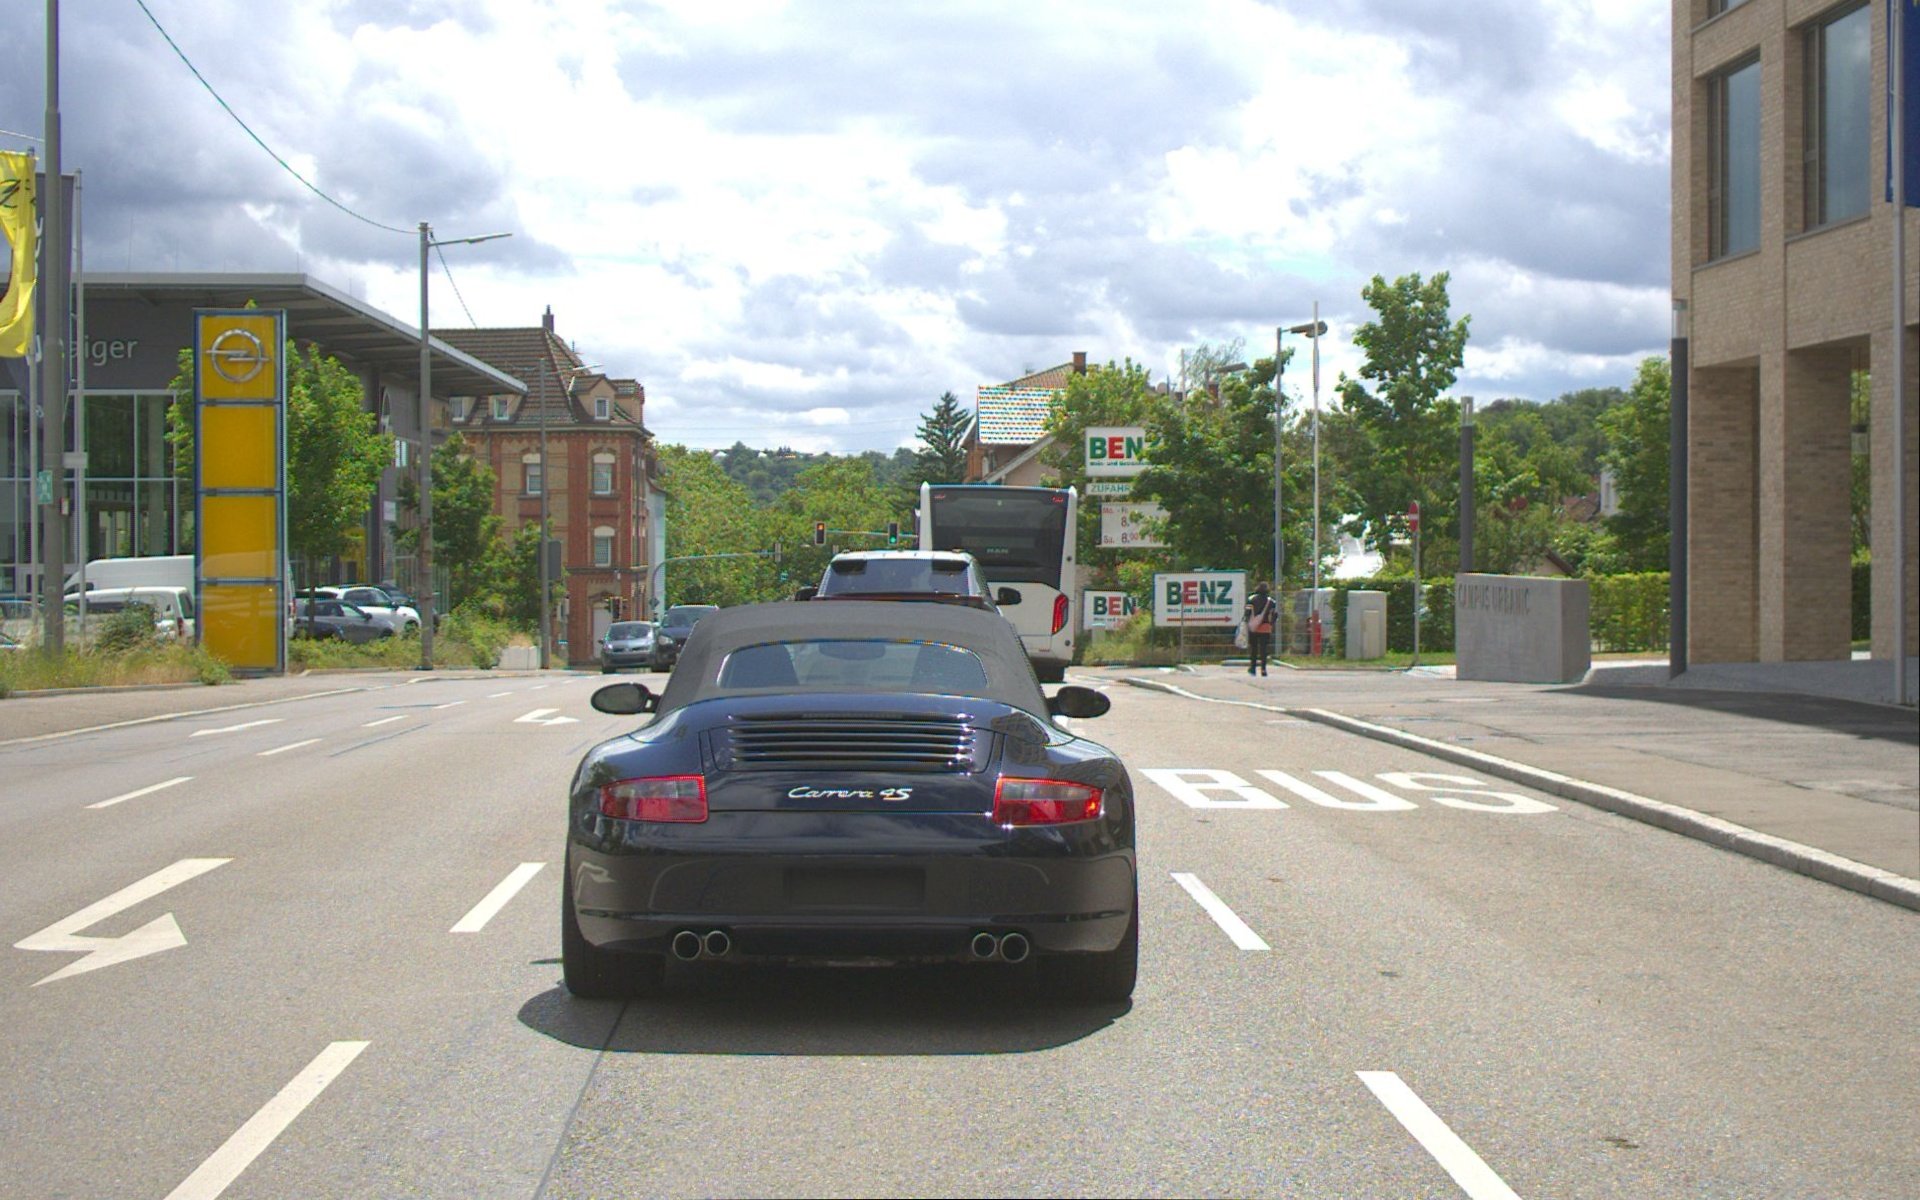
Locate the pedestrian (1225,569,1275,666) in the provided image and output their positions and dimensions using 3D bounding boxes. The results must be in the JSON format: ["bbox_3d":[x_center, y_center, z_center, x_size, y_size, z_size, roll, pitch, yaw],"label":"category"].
[{"bbox_3d":[4.621,0.278,54.785,0.687,1.531,0.856,-1,0,-2],"label":"pedestrian"}]

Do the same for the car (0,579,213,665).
[{"bbox_3d":[-17.665,0.448,70.943,3.987,1.700,2.000,0,1,4],"label":"car"}]

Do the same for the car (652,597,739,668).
[{"bbox_3d":[-5.834,0.732,76.176,1.829,1.504,4.277,-1,-1,-3],"label":"car"}]

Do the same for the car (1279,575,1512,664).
[{"bbox_3d":[9.710,0.439,76.797,4.706,1.842,2.089,-1,-1,-9],"label":"car"}]

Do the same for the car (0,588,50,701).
[{"bbox_3d":[-15.382,0.649,49.871,3.885,1.604,1.928,0,-1,-2],"label":"car"}]

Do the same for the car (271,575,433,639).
[{"bbox_3d":[-15.404,0.200,87.336,1.933,1.567,4.548,0,-1,22],"label":"car"}]

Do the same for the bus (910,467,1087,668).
[{"bbox_3d":[0.590,-0.654,60.726,2.802,3.187,12.196,0,1,0],"label":"bus"}]

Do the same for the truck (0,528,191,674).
[{"bbox_3d":[-14.900,0.063,52.500,5.860,2.140,2.477,-1,-1,-4],"label":"truck"}]

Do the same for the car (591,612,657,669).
[{"bbox_3d":[-10.135,1.200,103.885,1.743,1.590,4.042,-3,0,-3],"label":"car"}]

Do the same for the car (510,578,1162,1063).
[{"bbox_3d":[-0.392,0.642,12.300,1.930,1.372,4.208,0,1,-1],"label":"car"}]

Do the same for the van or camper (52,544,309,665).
[{"bbox_3d":[-16.629,0.074,73.566,5.026,2.522,2.318,0,1,-2],"label":"van or camper"}]

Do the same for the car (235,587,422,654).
[{"bbox_3d":[-15.048,0.462,82.200,1.897,1.445,4.825,1,1,26],"label":"car"}]

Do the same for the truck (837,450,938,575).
[{"bbox_3d":[-2.103,-2.406,97.461,2.666,3.097,9.035,-1,-1,-2],"label":"truck"}]

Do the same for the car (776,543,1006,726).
[{"bbox_3d":[-0.706,0.266,31.755,1.930,1.577,4.209,0,1,-4],"label":"car"}]
